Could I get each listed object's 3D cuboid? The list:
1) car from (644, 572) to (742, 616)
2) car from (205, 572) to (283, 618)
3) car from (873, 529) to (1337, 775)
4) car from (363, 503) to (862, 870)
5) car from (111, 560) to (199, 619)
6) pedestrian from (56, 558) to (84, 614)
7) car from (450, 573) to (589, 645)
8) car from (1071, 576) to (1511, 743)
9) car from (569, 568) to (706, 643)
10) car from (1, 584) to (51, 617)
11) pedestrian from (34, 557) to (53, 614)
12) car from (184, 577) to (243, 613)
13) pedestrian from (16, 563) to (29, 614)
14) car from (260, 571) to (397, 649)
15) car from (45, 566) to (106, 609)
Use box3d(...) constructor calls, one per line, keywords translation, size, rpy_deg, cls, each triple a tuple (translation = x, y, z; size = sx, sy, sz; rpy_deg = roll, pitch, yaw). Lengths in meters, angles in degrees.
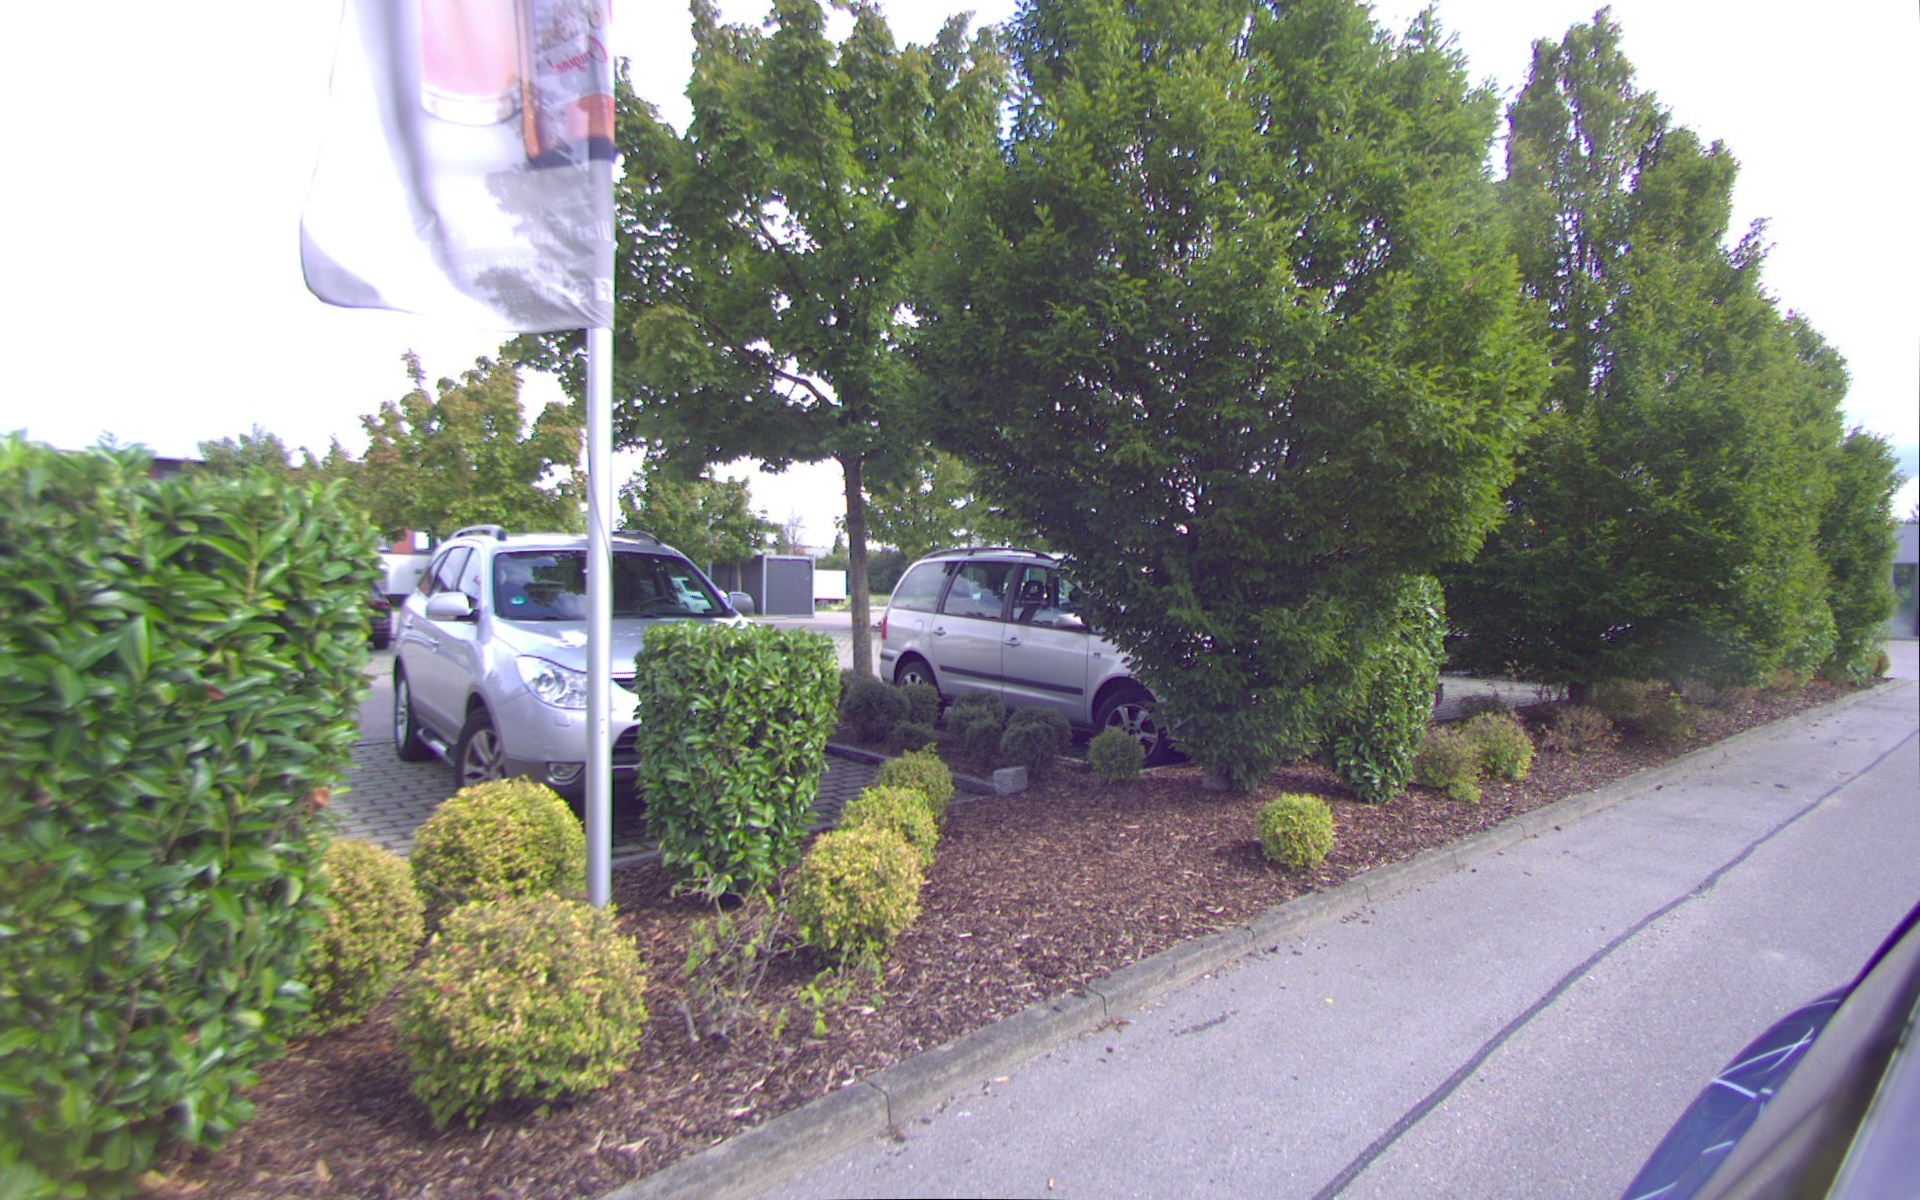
box3d(translation=(-9.999, -0.217, 37.737), size=(1.966, 1.549, 3.992), rpy_deg=(1, 0, -42), cls="car")
box3d(translation=(-22.844, -0.156, 32.245), size=(1.503, 1.391, 3.469), rpy_deg=(1, 0, -44), cls="car")
box3d(translation=(1.073, 0.360, 9.389), size=(1.627, 1.738, 4.360), rpy_deg=(1, 0, -38), cls="car")
box3d(translation=(-2.763, 0.326, 7.148), size=(1.884, 1.717, 4.676), rpy_deg=(0, 2, -39), cls="car")
box3d(translation=(-24.793, -0.315, 31.123), size=(1.738, 1.677, 3.990), rpy_deg=(1, 0, -44), cls="car")
box3d(translation=(-27.716, -0.431, 31.510), size=(0.489, 1.746, 0.417), rpy_deg=(1, -1, -9), cls="pedestrian")
box3d(translation=(-9.903, 0.166, 22.577), size=(1.691, 1.446, 4.270), rpy_deg=(1, 0, -40), cls="car")
box3d(translation=(3.196, 0.480, 10.378), size=(1.696, 1.367, 3.992), rpy_deg=(1, 0, -42), cls="car")
box3d(translation=(-7.656, 0.116, 23.801), size=(1.962, 1.591, 4.000), rpy_deg=(1, 0, -35), cls="car")
box3d(translation=(-46.456, 0.004, 50.315), size=(1.757, 1.564, 3.990), rpy_deg=(1, 0, -44), cls="car")
box3d(translation=(-28.547, -0.438, 31.506), size=(0.409, 1.746, 0.477), rpy_deg=(1, -1, -44), cls="pedestrian")
box3d(translation=(-30.503, -0.204, 41.333), size=(1.503, 1.391, 3.469), rpy_deg=(1, 0, -44), cls="car")
box3d(translation=(-29.168, -0.355, 31.488), size=(0.195, 1.570, 0.283), rpy_deg=(0, -1, 44), cls="pedestrian")
box3d(translation=(-12.512, 0.166, 19.929), size=(1.691, 1.363, 4.270), rpy_deg=(1, 0, -40), cls="car")
box3d(translation=(-36.990, -0.507, 42.301), size=(1.738, 1.742, 3.990), rpy_deg=(1, 0, -44), cls="car")
